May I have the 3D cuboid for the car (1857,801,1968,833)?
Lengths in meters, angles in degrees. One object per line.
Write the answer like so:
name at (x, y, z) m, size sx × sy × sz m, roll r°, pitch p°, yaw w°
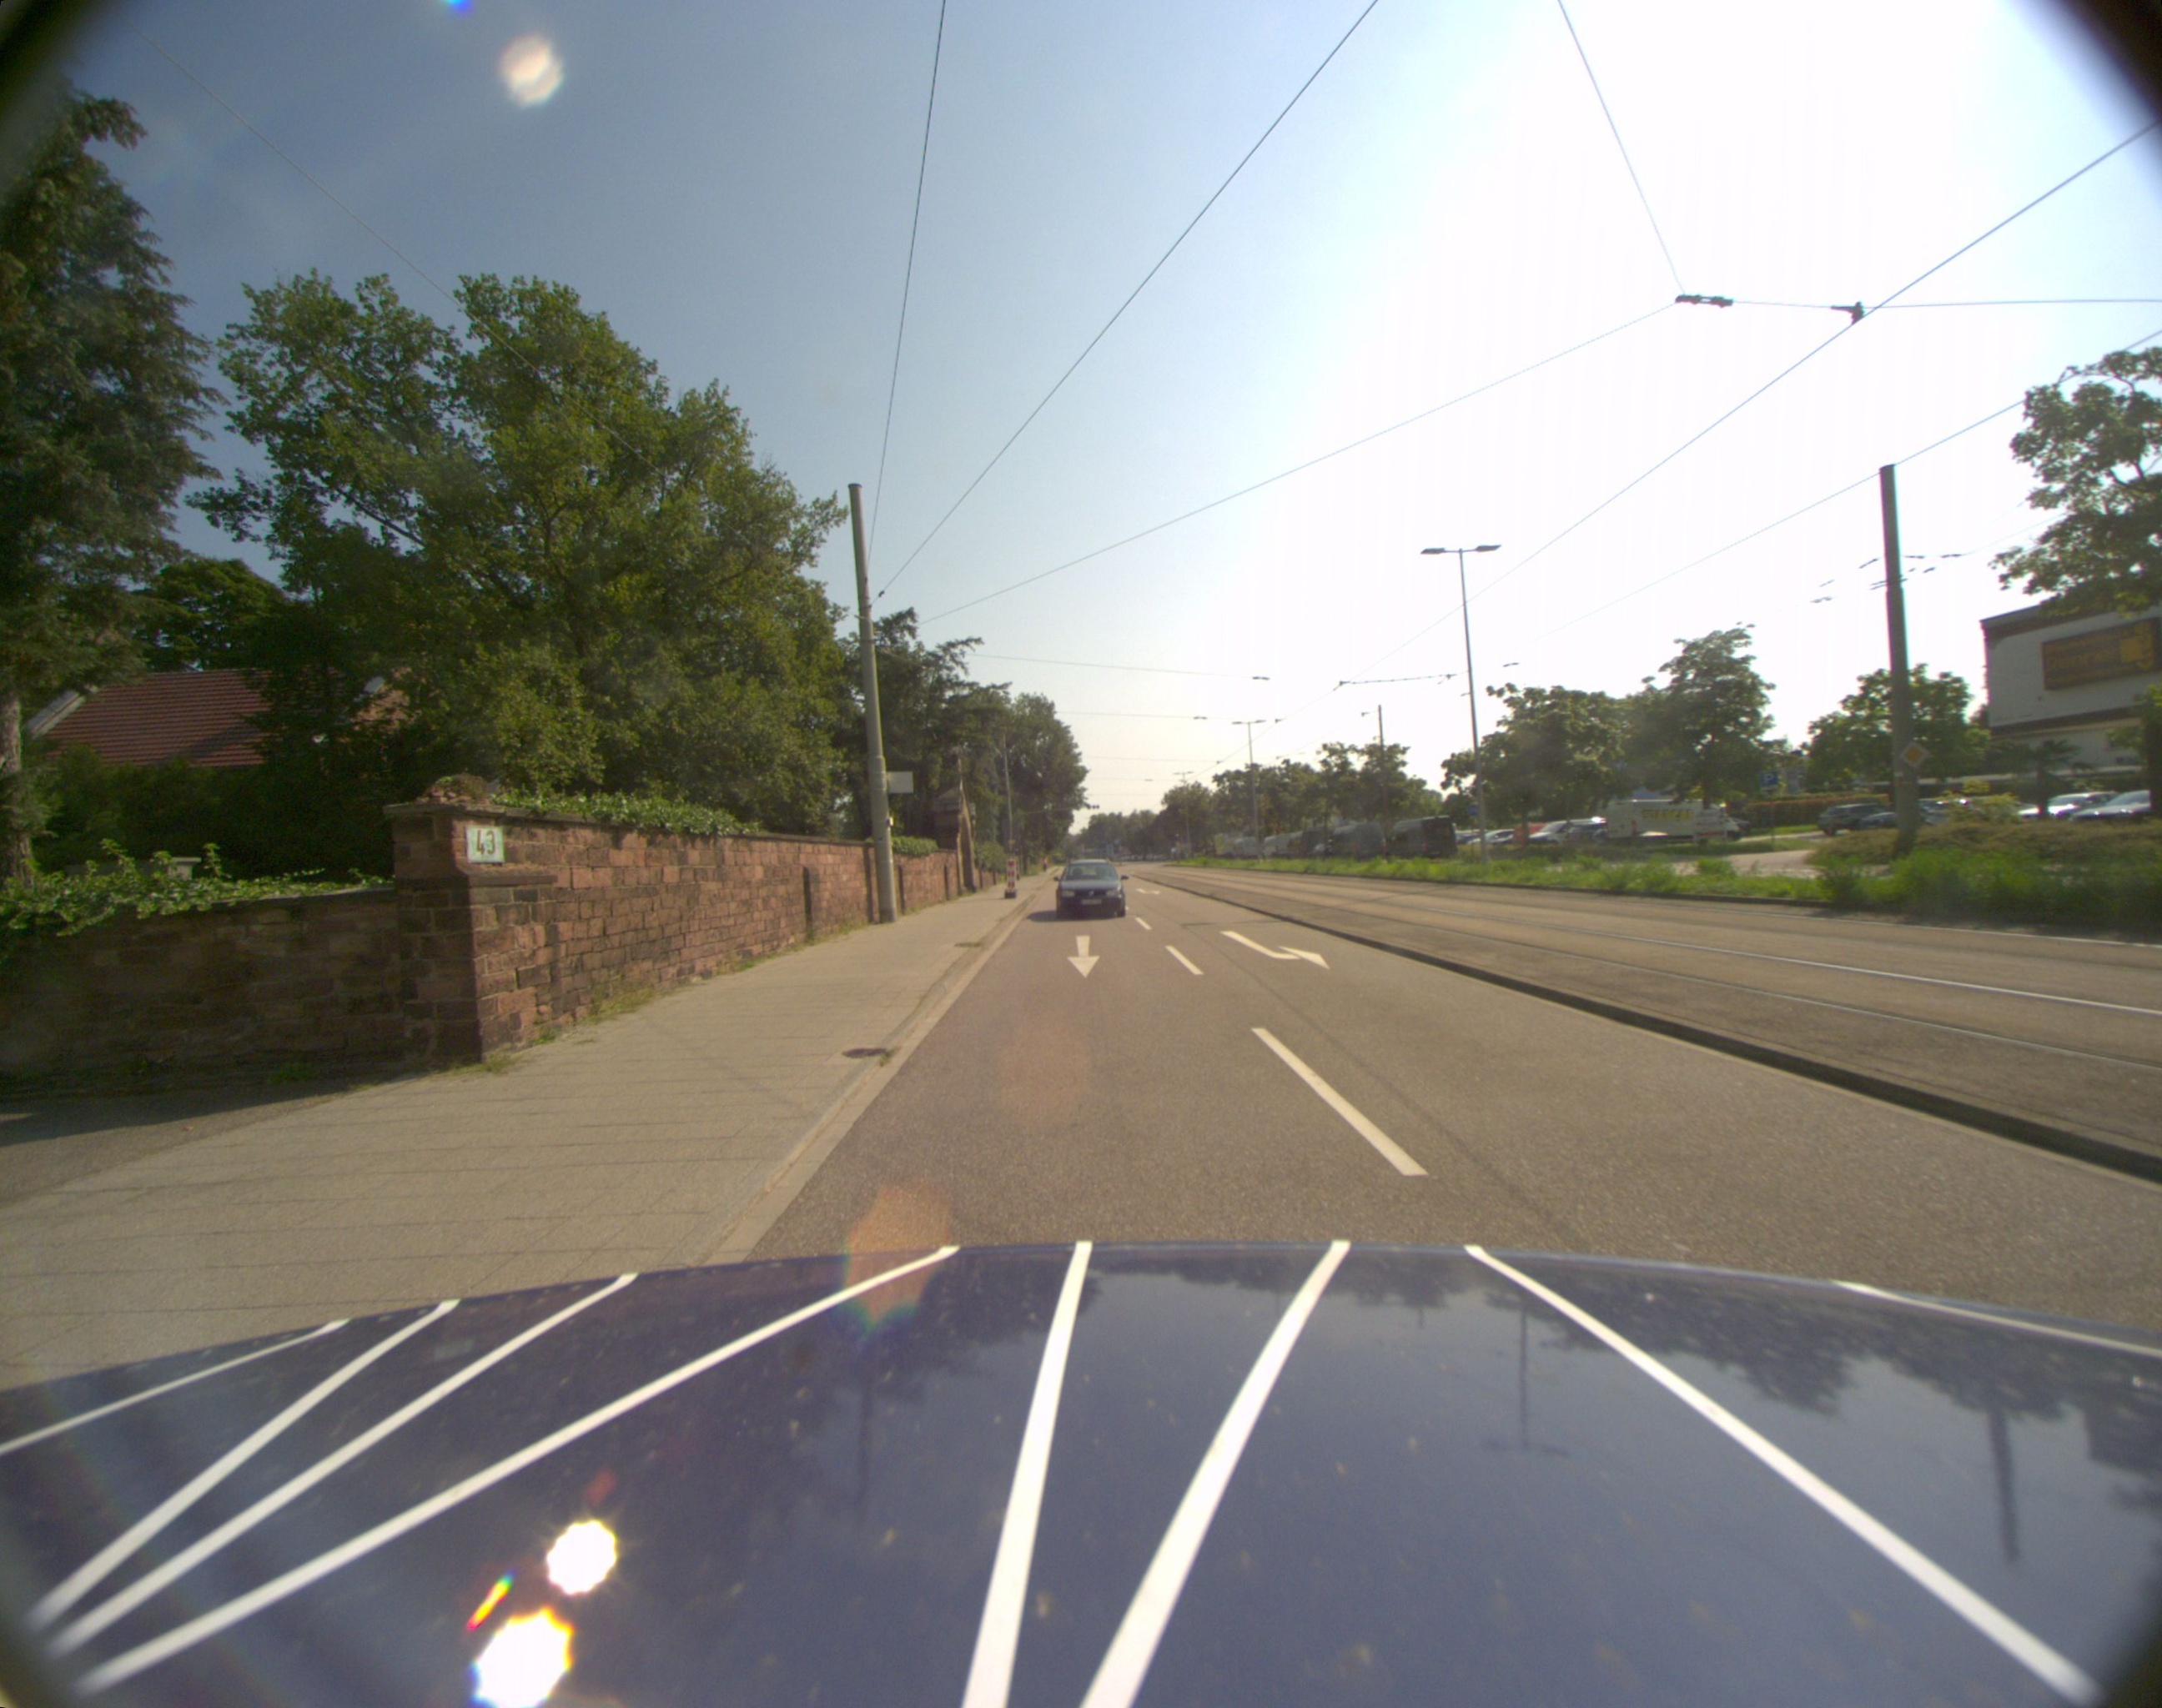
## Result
car at (42.483, -1.864, 38.873) m, size 3.713 × 1.335 × 1.491 m, roll -4°, pitch 0°, yaw 7°

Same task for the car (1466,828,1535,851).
car at (30.218, -1.028, 54.780) m, size 4.170 × 1.455 × 1.623 m, roll -3°, pitch 0°, yaw -10°

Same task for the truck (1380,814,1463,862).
truck at (19.745, -0.884, 44.390) m, size 2.086 × 2.533 × 5.738 m, roll -2°, pitch 0°, yaw -1°

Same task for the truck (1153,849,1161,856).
truck at (18.812, -0.311, 187.720) m, size 1.691 × 1.665 × 3.655 m, roll -2°, pitch 0°, yaw 0°

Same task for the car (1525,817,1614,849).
car at (29.945, -1.266, 46.674) m, size 4.410 × 1.774 × 1.633 m, roll -2°, pitch 1°, yaw -1°

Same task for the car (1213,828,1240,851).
car at (18.863, -1.786, 98.925) m, size 2.130 × 2.789 × 7.230 m, roll -2°, pitch 0°, yaw 0°

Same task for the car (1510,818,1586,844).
car at (30.524, -1.487, 49.695) m, size 3.933 × 1.509 × 1.633 m, roll -2°, pitch 1°, yaw -1°

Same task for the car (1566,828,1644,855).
car at (30.293, -0.702, 43.997) m, size 3.413 × 1.418 × 1.633 m, roll -2°, pitch 1°, yaw -1°

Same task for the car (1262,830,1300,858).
car at (19.628, -0.953, 74.812) m, size 2.138 × 2.571 × 5.630 m, roll -2°, pitch 0°, yaw 0°

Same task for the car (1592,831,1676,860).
car at (30.193, -0.454, 41.556) m, size 3.413 × 1.418 × 1.633 m, roll -2°, pitch 1°, yaw -1°

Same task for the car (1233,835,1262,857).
car at (19.499, -0.931, 89.279) m, size 2.148 × 2.444 × 4.831 m, roll -2°, pitch 0°, yaw -2°

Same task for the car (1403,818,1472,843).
car at (32.071, -2.098, 68.375) m, size 5.198 × 1.914 × 2.052 m, roll -2°, pitch 1°, yaw -1°

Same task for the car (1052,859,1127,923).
car at (0.233, 0.903, 20.220) m, size 1.776 × 1.416 × 3.935 m, roll -2°, pitch 0°, yaw 1°

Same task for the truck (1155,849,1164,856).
truck at (18.875, -0.373, 182.712) m, size 1.691 × 1.665 × 3.655 m, roll -2°, pitch 0°, yaw 0°

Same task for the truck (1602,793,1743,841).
truck at (30.428, -1.879, 39.213) m, size 5.504 × 2.160 × 2.259 m, roll -2°, pitch 1°, yaw -1°

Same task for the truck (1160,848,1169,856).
truck at (18.983, -0.418, 172.295) m, size 1.691 × 1.665 × 3.655 m, roll -2°, pitch 0°, yaw 0°

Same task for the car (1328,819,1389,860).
car at (19.710, -0.994, 54.345) m, size 1.993 × 2.571 × 6.467 m, roll -5°, pitch 0°, yaw 2°

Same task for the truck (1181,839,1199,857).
truck at (20.310, -1.065, 142.054) m, size 2.278 × 3.103 × 8.787 m, roll -2°, pitch 0°, yaw 2°

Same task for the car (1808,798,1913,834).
car at (43.208, -2.105, 42.180) m, size 3.811 × 1.758 × 1.759 m, roll -2°, pitch 1°, yaw 5°

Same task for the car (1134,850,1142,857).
car at (14.131, -0.186, 188.976) m, size 1.929 × 1.510 × 3.949 m, roll -2°, pitch 0°, yaw 2°

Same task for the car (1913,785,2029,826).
car at (42.827, -2.310, 36.618) m, size 3.456 × 1.493 × 1.876 m, roll -6°, pitch 0°, yaw -3°

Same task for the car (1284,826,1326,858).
car at (19.584, -1.001, 66.719) m, size 1.827 × 2.571 × 5.910 m, roll -5°, pitch 0°, yaw 1°

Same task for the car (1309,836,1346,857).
car at (19.702, -0.585, 60.828) m, size 1.749 × 1.543 × 3.834 m, roll -5°, pitch 0°, yaw 2°

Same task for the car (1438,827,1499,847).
car at (30.580, -1.332, 59.977) m, size 3.933 × 1.441 × 1.633 m, roll -2°, pitch 1°, yaw -1°
